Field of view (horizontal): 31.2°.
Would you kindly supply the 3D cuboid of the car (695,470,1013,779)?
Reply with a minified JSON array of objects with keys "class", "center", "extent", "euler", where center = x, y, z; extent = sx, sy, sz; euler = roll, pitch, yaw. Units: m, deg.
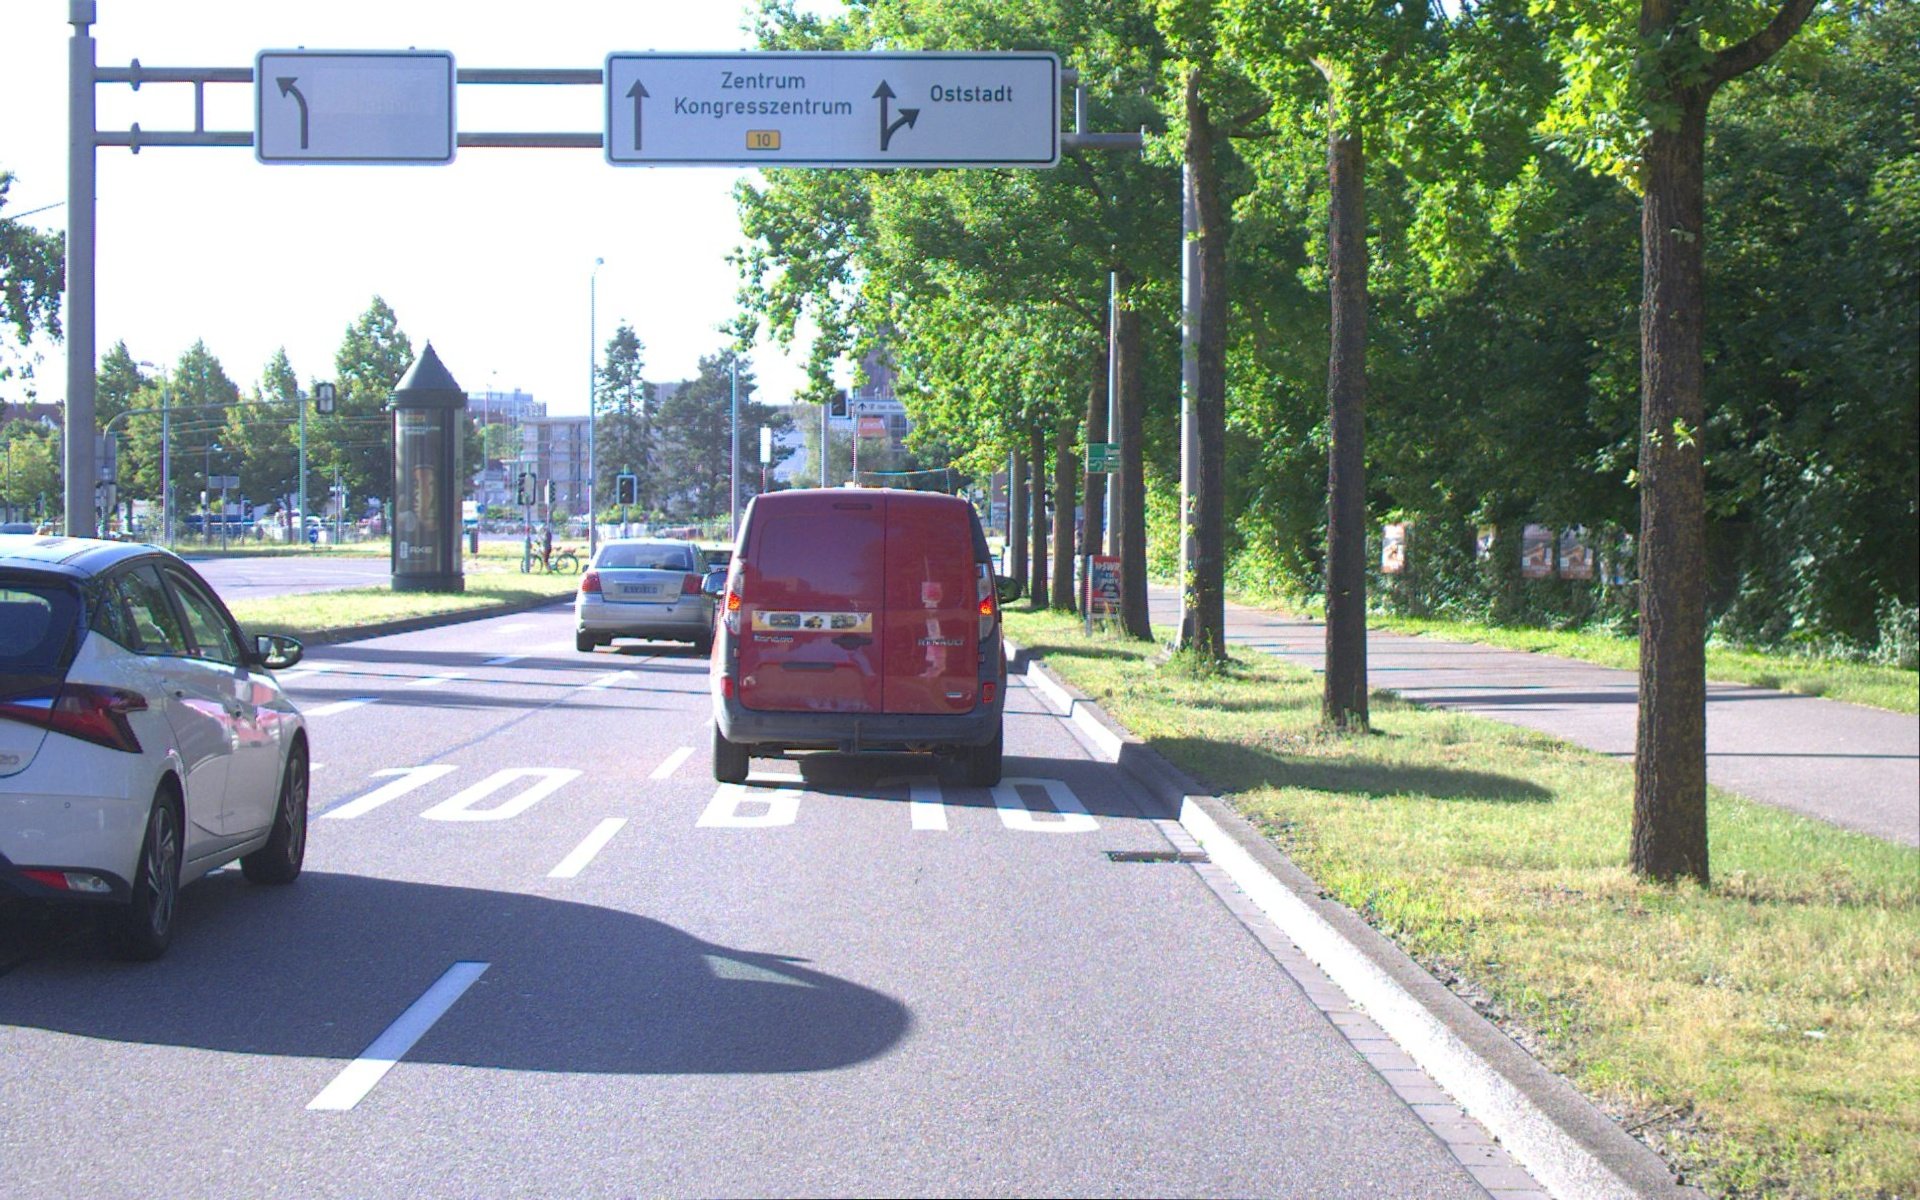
[{"class":"car","center":[-0.664,0.081,21.964],"extent":[1.806,1.753,4.006],"euler":[1,2,-1]}]

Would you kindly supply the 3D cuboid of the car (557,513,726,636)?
[{"class":"car","center":[-4.107,-0.369,44.873],"extent":[1.841,1.451,4.163],"euler":[2,2,-1]}]

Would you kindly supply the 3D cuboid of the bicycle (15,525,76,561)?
[{"class":"bicycle","center":[-28.381,-1.781,106.679],"extent":[1.727,1.103,0.604],"euler":[0,1,12]}]

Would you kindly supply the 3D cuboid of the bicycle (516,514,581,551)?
[{"class":"bicycle","center":[-12.802,-2.104,106.925],"extent":[1.958,1.162,0.517],"euler":[0,1,-2]}]

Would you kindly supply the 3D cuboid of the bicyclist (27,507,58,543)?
[{"class":"bicyclist","center":[-28.464,-2.332,106.686],"extent":[0.735,1.103,0.604],"euler":[0,1,12]}]

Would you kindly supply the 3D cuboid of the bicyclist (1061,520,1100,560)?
[{"class":"bicyclist","center":[3.845,-1.917,109.640],"extent":[0.968,1.245,0.789],"euler":[-1,1,-33]}]

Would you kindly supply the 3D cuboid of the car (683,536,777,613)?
[{"class":"car","center":[-4.447,-0.515,66.912],"extent":[1.661,1.393,3.559],"euler":[0,2,-1]}]

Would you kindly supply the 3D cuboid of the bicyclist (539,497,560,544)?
[{"class":"bicyclist","center":[-12.769,-2.473,106.916],"extent":[0.603,1.463,0.517],"euler":[0,1,-2]}]

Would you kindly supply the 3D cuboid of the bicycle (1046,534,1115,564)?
[{"class":"bicycle","center":[3.855,-1.626,109.659],"extent":[2.119,0.954,0.789],"euler":[-1,1,-33]}]

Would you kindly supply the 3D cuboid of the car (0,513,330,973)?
[{"class":"car","center":[-3.612,0.403,12.993],"extent":[1.778,1.404,4.075],"euler":[1,2,-1]}]
